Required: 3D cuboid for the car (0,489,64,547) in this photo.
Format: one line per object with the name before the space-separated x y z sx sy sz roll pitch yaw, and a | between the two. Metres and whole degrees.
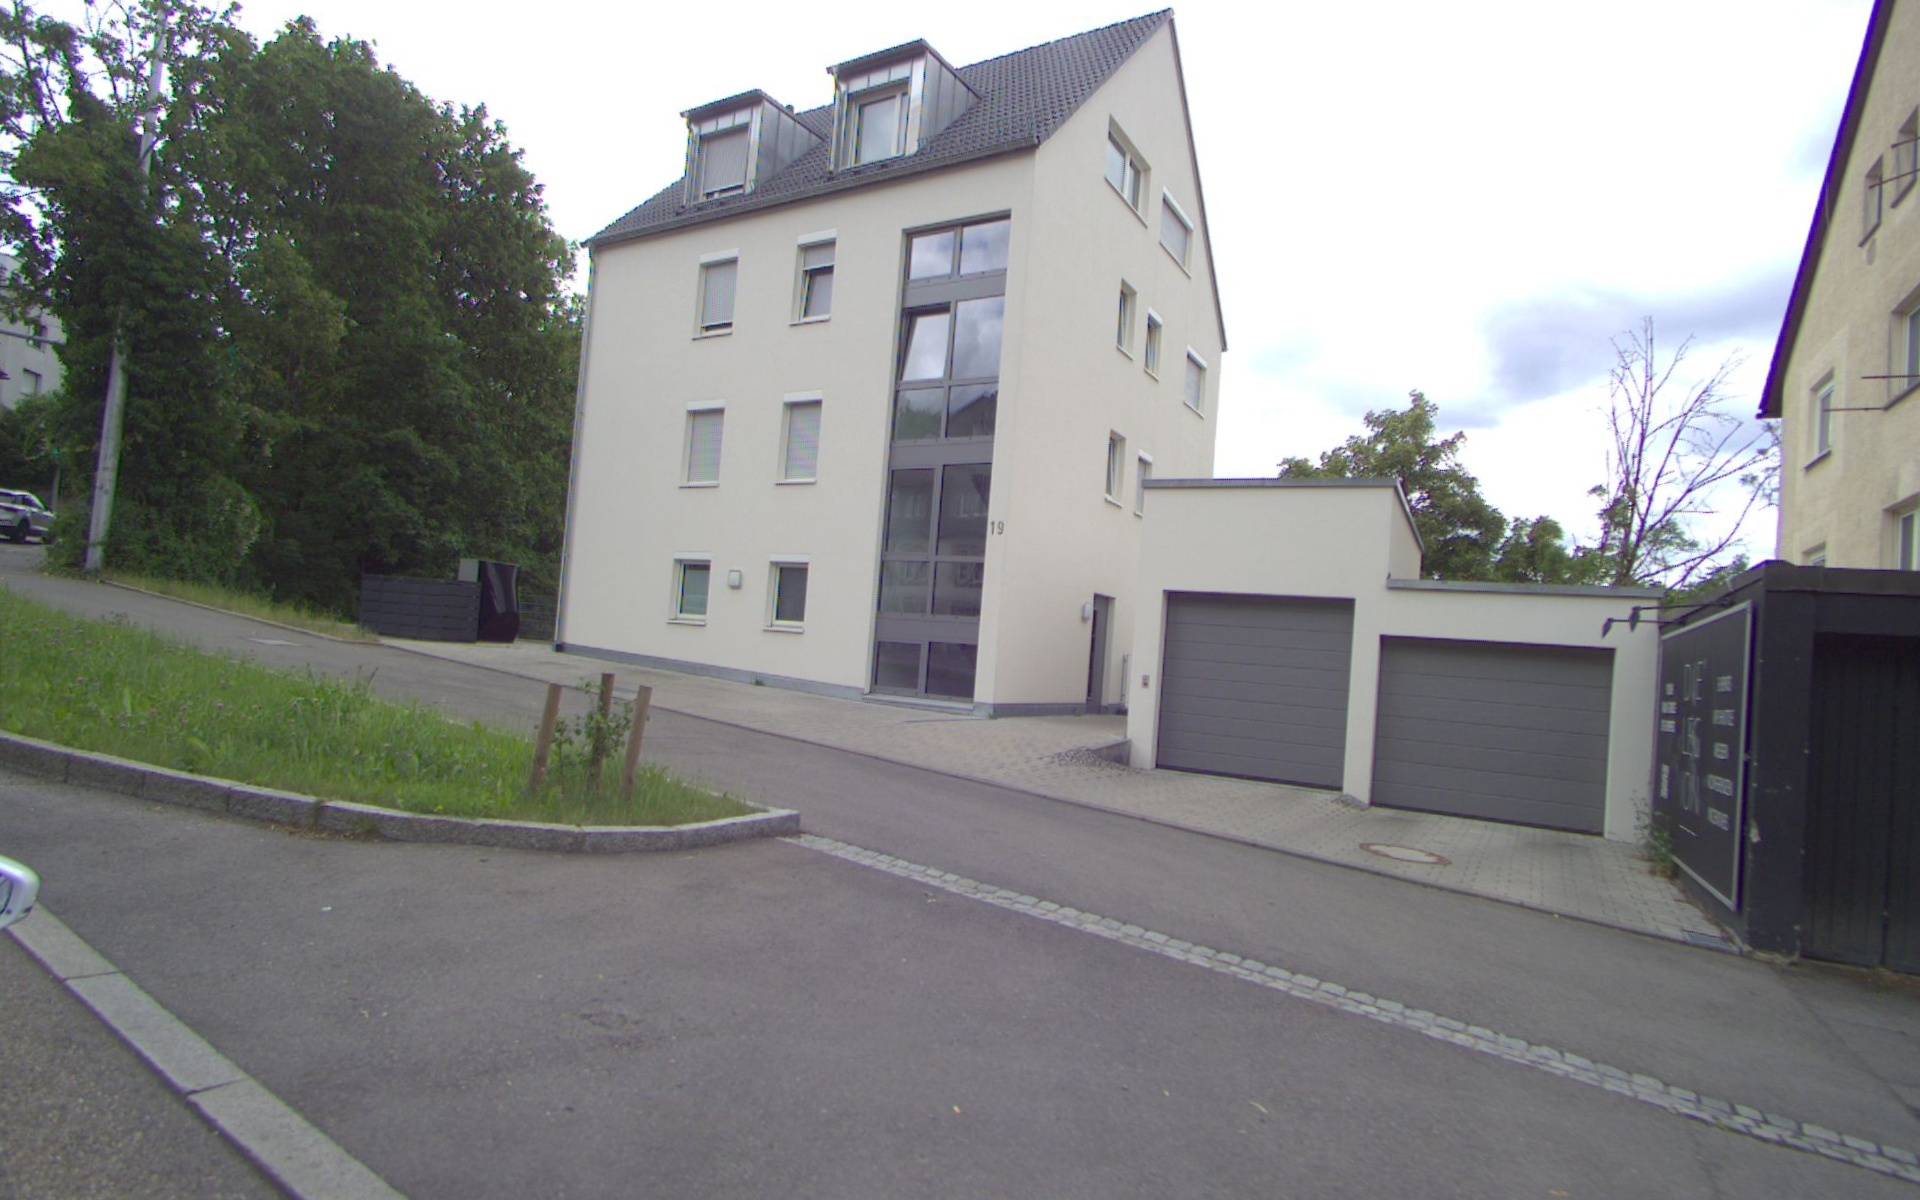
car | -29.289 -2.568 30.778 1.766 1.597 3.972 9 -2 -28
